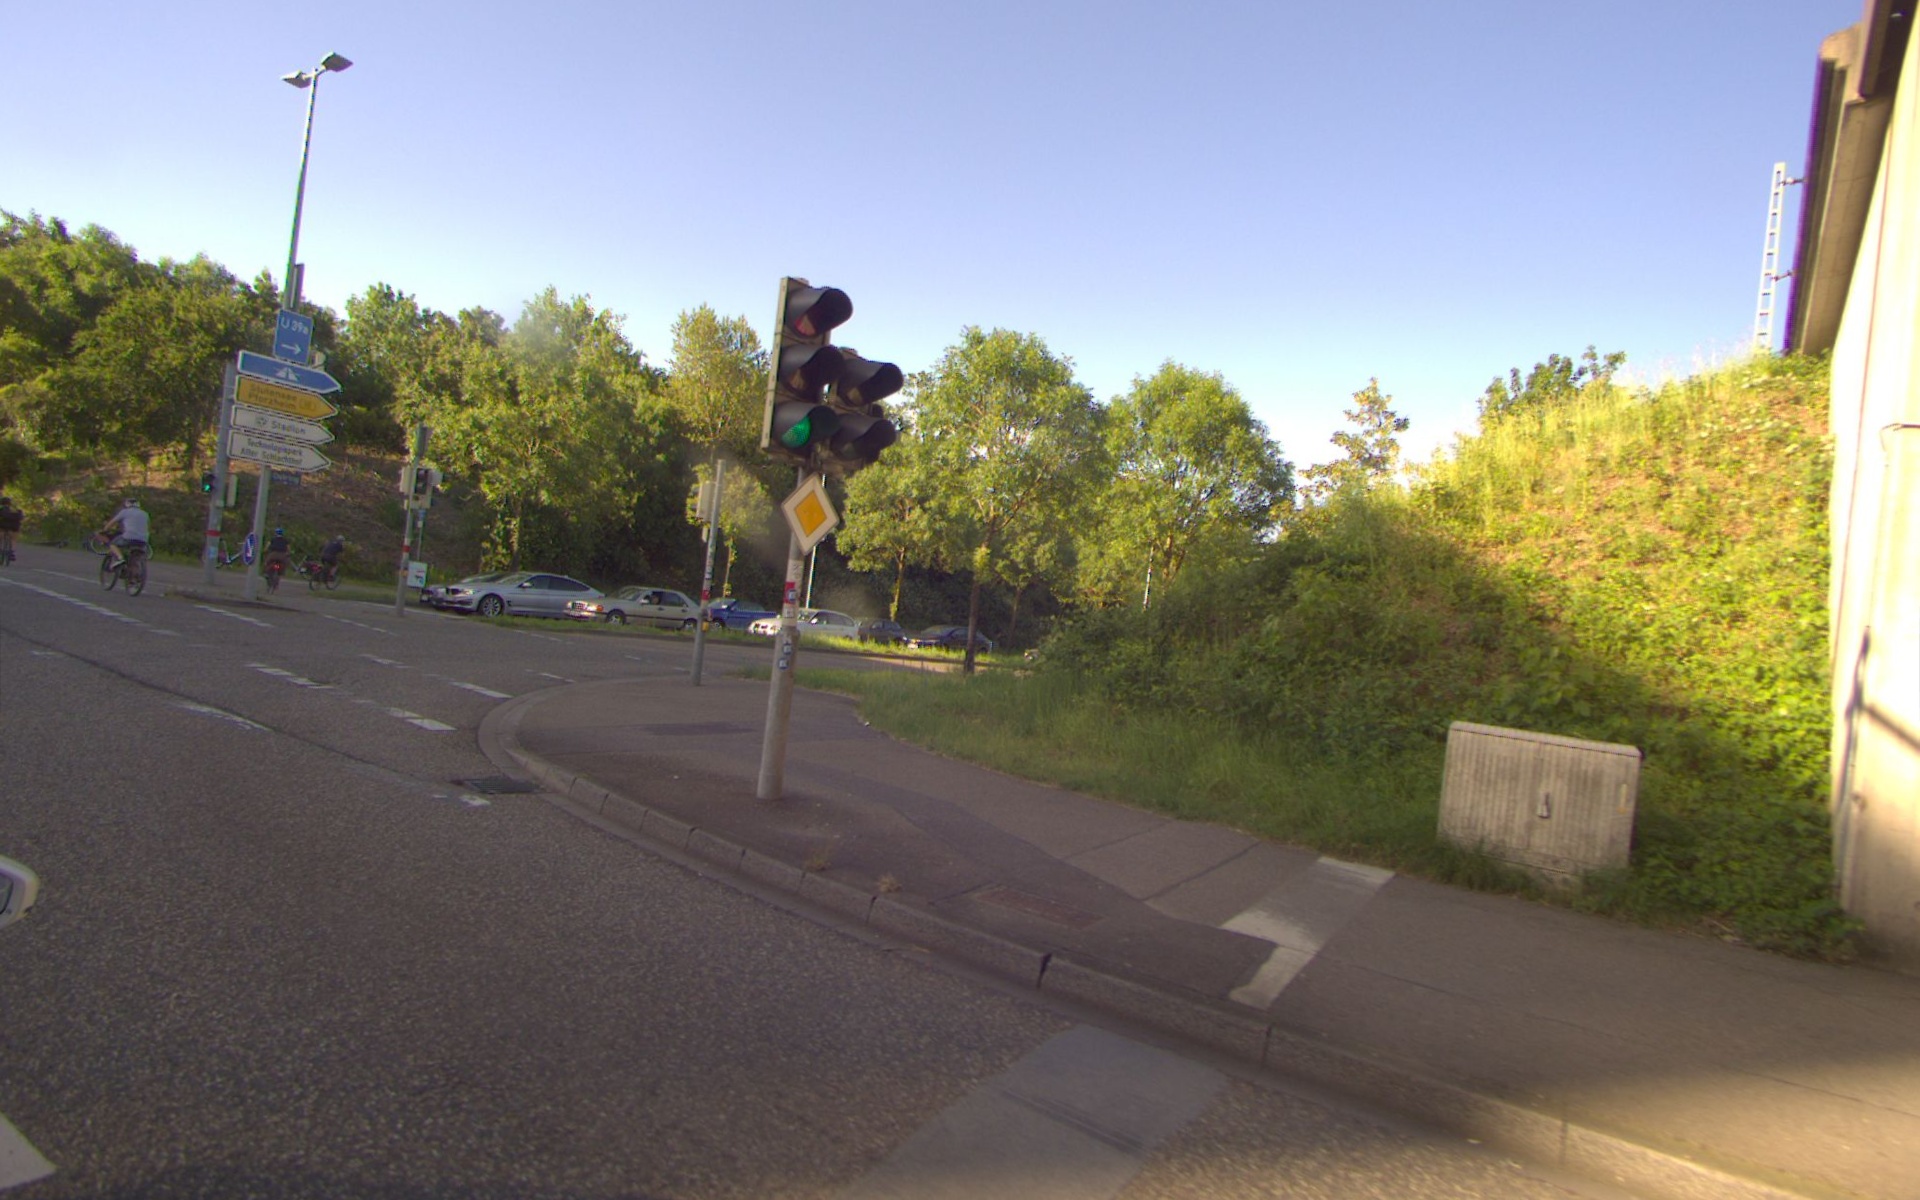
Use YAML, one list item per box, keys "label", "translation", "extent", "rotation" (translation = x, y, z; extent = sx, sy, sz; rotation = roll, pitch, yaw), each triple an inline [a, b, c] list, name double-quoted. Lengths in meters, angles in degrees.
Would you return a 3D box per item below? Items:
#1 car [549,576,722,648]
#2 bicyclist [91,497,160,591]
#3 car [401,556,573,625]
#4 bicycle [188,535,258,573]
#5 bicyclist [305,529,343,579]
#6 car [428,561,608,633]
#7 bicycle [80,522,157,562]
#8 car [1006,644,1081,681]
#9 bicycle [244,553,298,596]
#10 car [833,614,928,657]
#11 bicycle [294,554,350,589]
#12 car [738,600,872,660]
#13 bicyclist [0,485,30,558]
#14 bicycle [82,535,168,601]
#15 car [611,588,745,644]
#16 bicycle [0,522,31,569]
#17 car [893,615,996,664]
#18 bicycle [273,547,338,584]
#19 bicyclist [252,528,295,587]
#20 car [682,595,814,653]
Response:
- label: "car"
  translation: [-9.478, 0.396, 29.715]
  extent: [1.801, 1.530, 4.551]
  rotation: [4, -4, 37]
- label: "bicyclist"
  translation: [-14.854, -0.993, 17.911]
  extent: [0.756, 1.566, 0.593]
  rotation: [5, -2, 32]
- label: "car"
  translation: [-14.945, -0.262, 32.008]
  extent: [1.801, 1.530, 4.551]
  rotation: [4, -4, 37]
- label: "bicycle"
  translation: [-25.025, -1.549, 34.173]
  extent: [0.585, 1.034, 1.745]
  rotation: [4, -4, 39]
- label: "bicyclist"
  translation: [-20.353, -1.467, 32.195]
  extent: [0.639, 1.498, 0.618]
  rotation: [7, -1, -2]
- label: "car"
  translation: [-13.142, -0.054, 30.164]
  extent: [1.801, 1.530, 4.551]
  rotation: [4, -4, 37]
- label: "bicycle"
  translation: [-27.391, -1.883, 32.768]
  extent: [0.585, 1.034, 1.745]
  rotation: [4, -4, 39]
- label: "car"
  translation: [4.599, 3.417, 54.668]
  extent: [1.801, 1.530, 4.551]
  rotation: [4, -4, 37]
- label: "bicycle"
  translation: [-18.746, -0.709, 27.347]
  extent: [2.028, 1.035, 0.671]
  rotation: [4, -3, 43]
- label: "car"
  translation: [-3.666, 1.694, 47.296]
  extent: [1.801, 1.530, 4.551]
  rotation: [4, -4, 37]
- label: "bicycle"
  translation: [-20.430, -0.914, 32.251]
  extent: [0.657, 1.037, 1.748]
  rotation: [6, 2, -2]
- label: "car"
  translation: [-5.325, 1.083, 35.074]
  extent: [1.801, 1.530, 4.551]
  rotation: [4, -4, 37]
- label: "bicyclist"
  translation: [-22.754, -1.876, 23.908]
  extent: [0.927, 1.632, 0.593]
  rotation: [5, -2, 32]
- label: "bicycle"
  translation: [-14.873, -0.579, 17.915]
  extent: [1.722, 1.035, 0.593]
  rotation: [5, -3, 33]
- label: "car"
  translation: [-10.500, 0.648, 37.751]
  extent: [1.801, 1.530, 4.551]
  rotation: [4, -4, 37]
- label: "bicycle"
  translation: [-22.863, -1.324, 23.940]
  extent: [1.722, 1.035, 0.593]
  rotation: [5, -3, 33]
- label: "car"
  translation: [-0.590, 1.671, 42.095]
  extent: [1.801, 1.530, 4.551]
  rotation: [4, -4, 37]
- label: "bicycle"
  translation: [-23.060, -1.219, 35.452]
  extent: [0.585, 1.034, 1.743]
  rotation: [4, -4, 41]
- label: "bicyclist"
  translation: [-18.601, -1.155, 27.258]
  extent: [0.741, 1.491, 0.664]
  rotation: [4, -3, 42]
- label: "car"
  translation: [-7.674, 0.912, 36.735]
  extent: [1.801, 1.530, 4.551]
  rotation: [4, -4, 37]
